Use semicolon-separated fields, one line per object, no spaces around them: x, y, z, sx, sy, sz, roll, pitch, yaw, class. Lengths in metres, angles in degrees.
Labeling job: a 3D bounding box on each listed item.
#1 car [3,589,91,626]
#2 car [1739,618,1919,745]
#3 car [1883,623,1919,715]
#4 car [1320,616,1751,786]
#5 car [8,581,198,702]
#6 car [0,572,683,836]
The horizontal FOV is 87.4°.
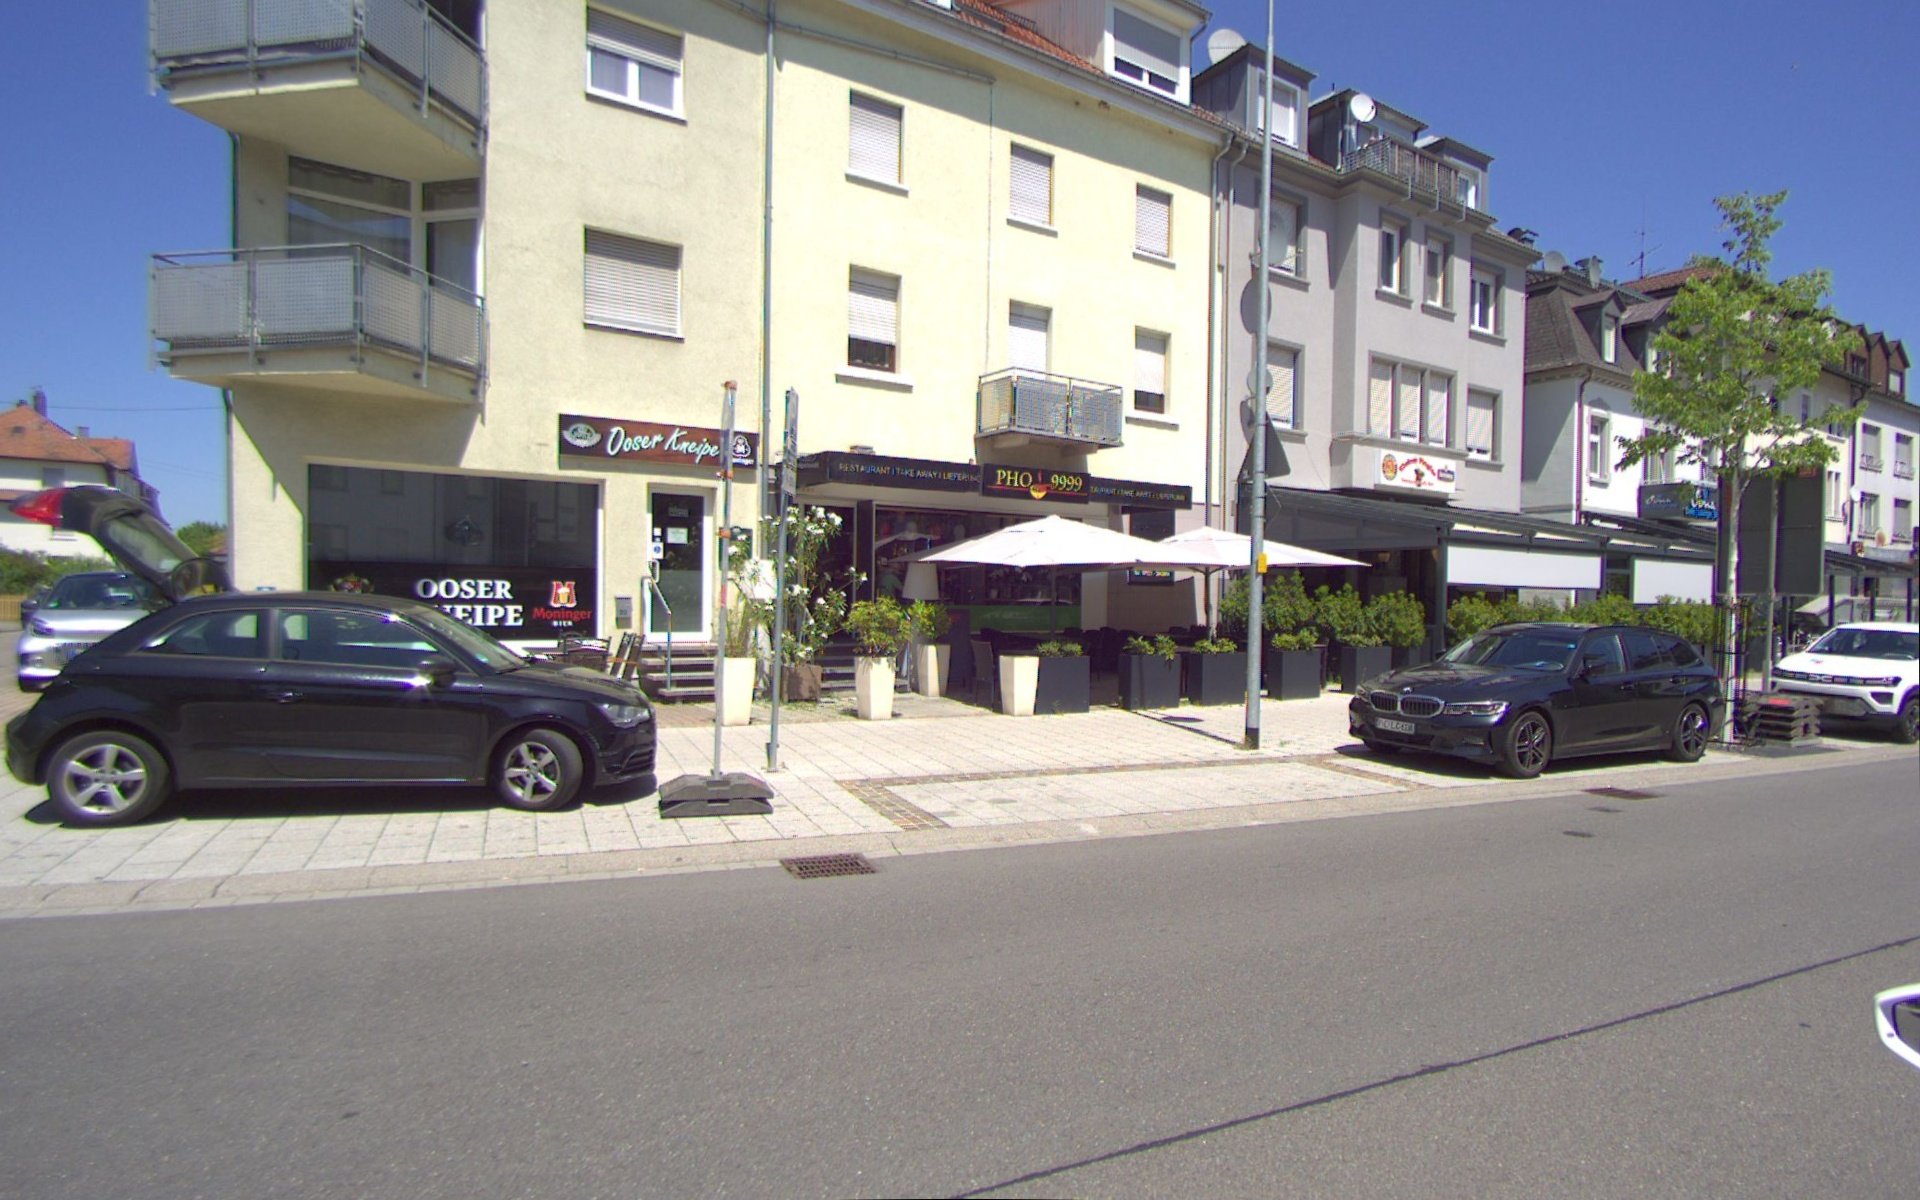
-38.511;0.321;42.489;1.977;1.439;3.967;1;-1;-31;car
12.951;1.055;14.058;3.888;1.499;1.639;1;2;-26;car
17.284;1.135;16.692;3.959;1.463;1.663;1;0;-28;car
6.321;0.950;10.917;4.723;1.449;1.827;1;1;-28;car
-11.823;0.508;14.057;1.675;1.478;3.241;1;0;-35;car
-4.171;0.645;7.169;4.068;1.480;1.709;2;2;-21;car
